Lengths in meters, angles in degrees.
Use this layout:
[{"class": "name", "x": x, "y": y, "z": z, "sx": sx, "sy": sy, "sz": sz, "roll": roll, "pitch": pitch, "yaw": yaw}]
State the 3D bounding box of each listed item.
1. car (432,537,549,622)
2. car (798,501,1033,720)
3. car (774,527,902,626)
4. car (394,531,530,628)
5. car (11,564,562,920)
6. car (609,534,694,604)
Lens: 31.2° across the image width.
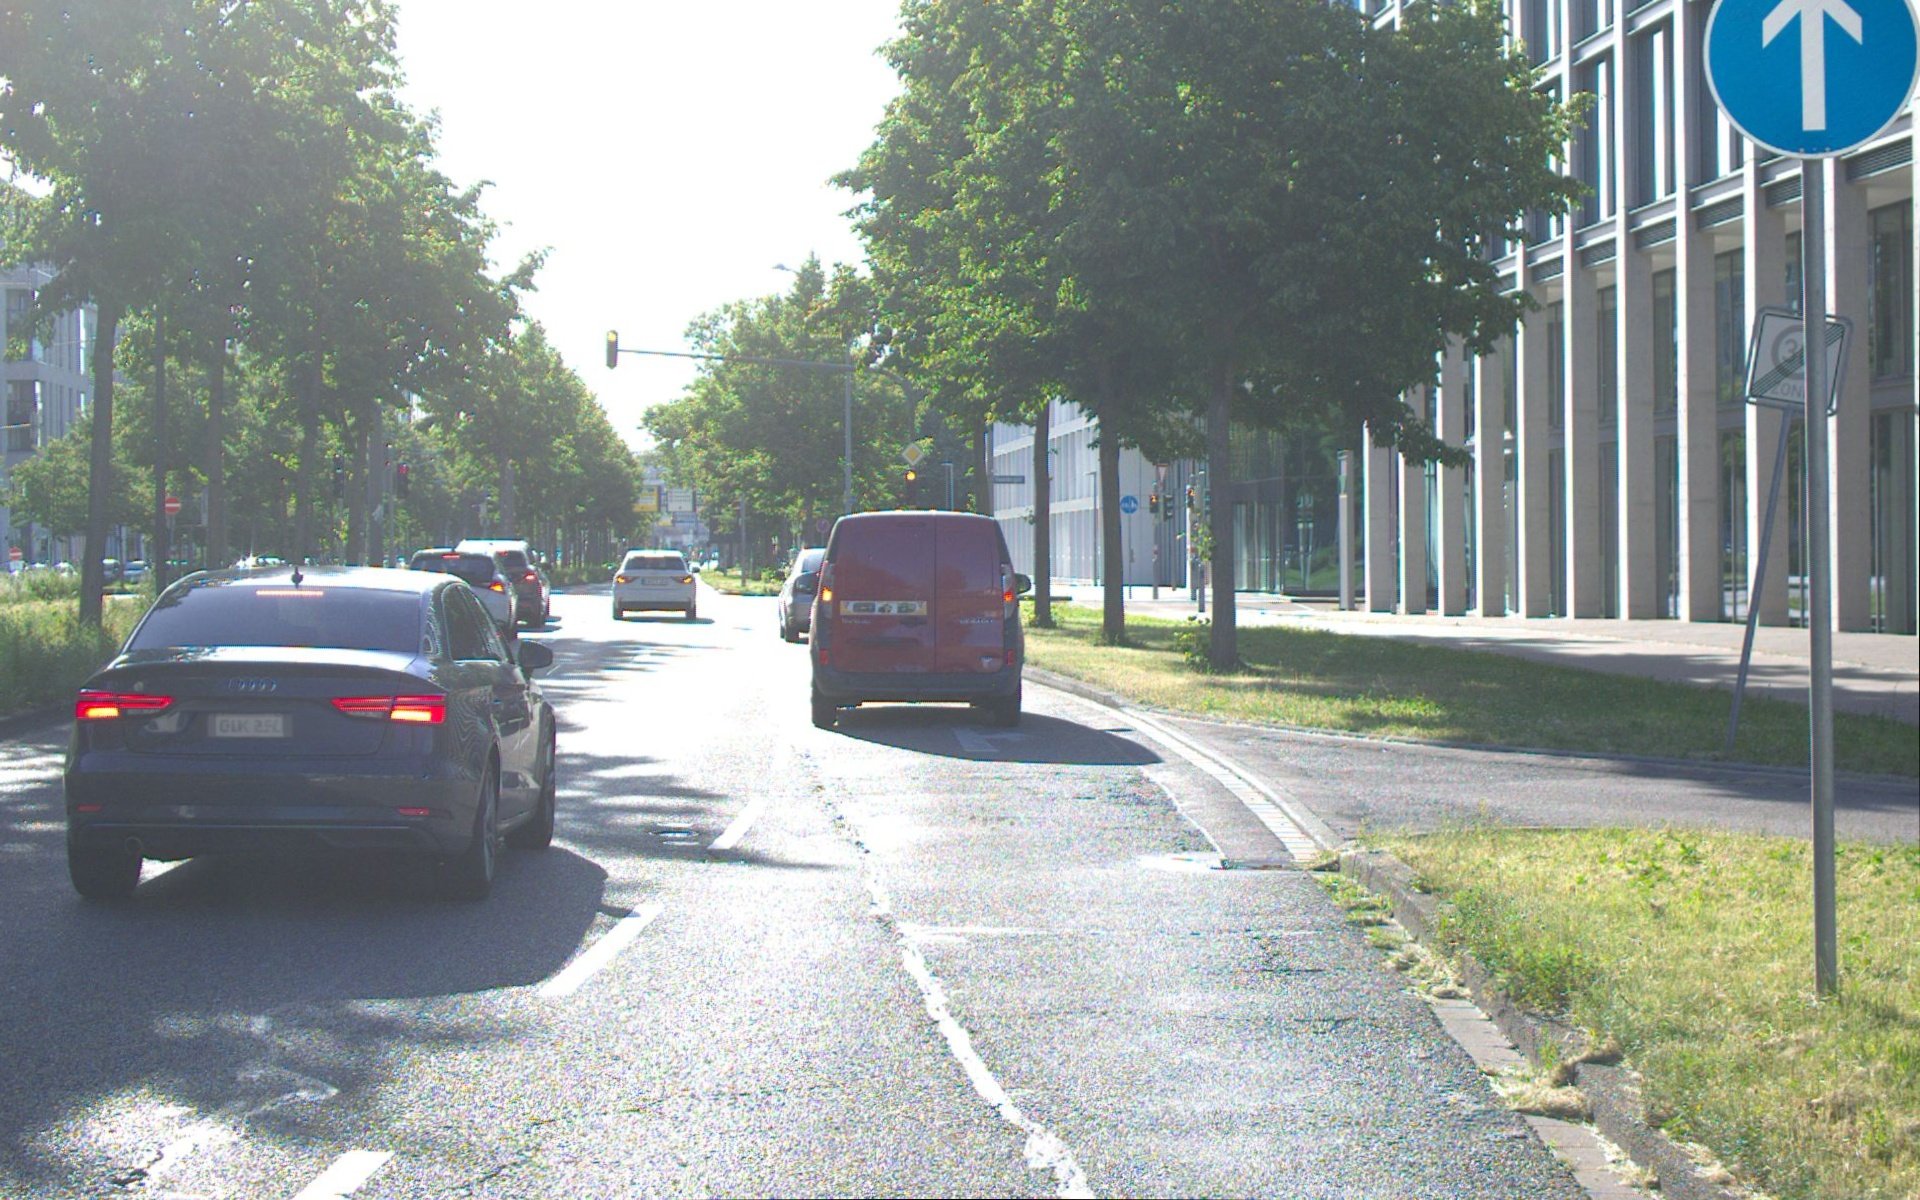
[{"class": "car", "x": -8.696, "y": -0.403, "z": 63.935, "sx": 1.842, "sy": 1.529, "sz": 3.940, "roll": 0, "pitch": 1, "yaw": -3}, {"class": "car", "x": -0.455, "y": 0.045, "z": 29.845, "sx": 1.797, "sy": 1.771, "sz": 4.001, "roll": 0, "pitch": 1, "yaw": -4}, {"class": "car", "x": -1.965, "y": -0.396, "z": 54.323, "sx": 1.720, "sy": 1.420, "sz": 3.818, "roll": 1, "pitch": 2, "yaw": -6}, {"class": "car", "x": -7.704, "y": -0.342, "z": 53.462, "sx": 1.942, "sy": 1.436, "sz": 4.001, "roll": 0, "pitch": 1, "yaw": -6}, {"class": "car", "x": -2.869, "y": 0.533, "z": 15.491, "sx": 1.721, "sy": 1.361, "sz": 4.146, "roll": 0, "pitch": 1, "yaw": -1}, {"class": "car", "x": -6.416, "y": -0.667, "z": 71.703, "sx": 1.720, "sy": 1.420, "sz": 3.817, "roll": 0, "pitch": 1, "yaw": -5}]
